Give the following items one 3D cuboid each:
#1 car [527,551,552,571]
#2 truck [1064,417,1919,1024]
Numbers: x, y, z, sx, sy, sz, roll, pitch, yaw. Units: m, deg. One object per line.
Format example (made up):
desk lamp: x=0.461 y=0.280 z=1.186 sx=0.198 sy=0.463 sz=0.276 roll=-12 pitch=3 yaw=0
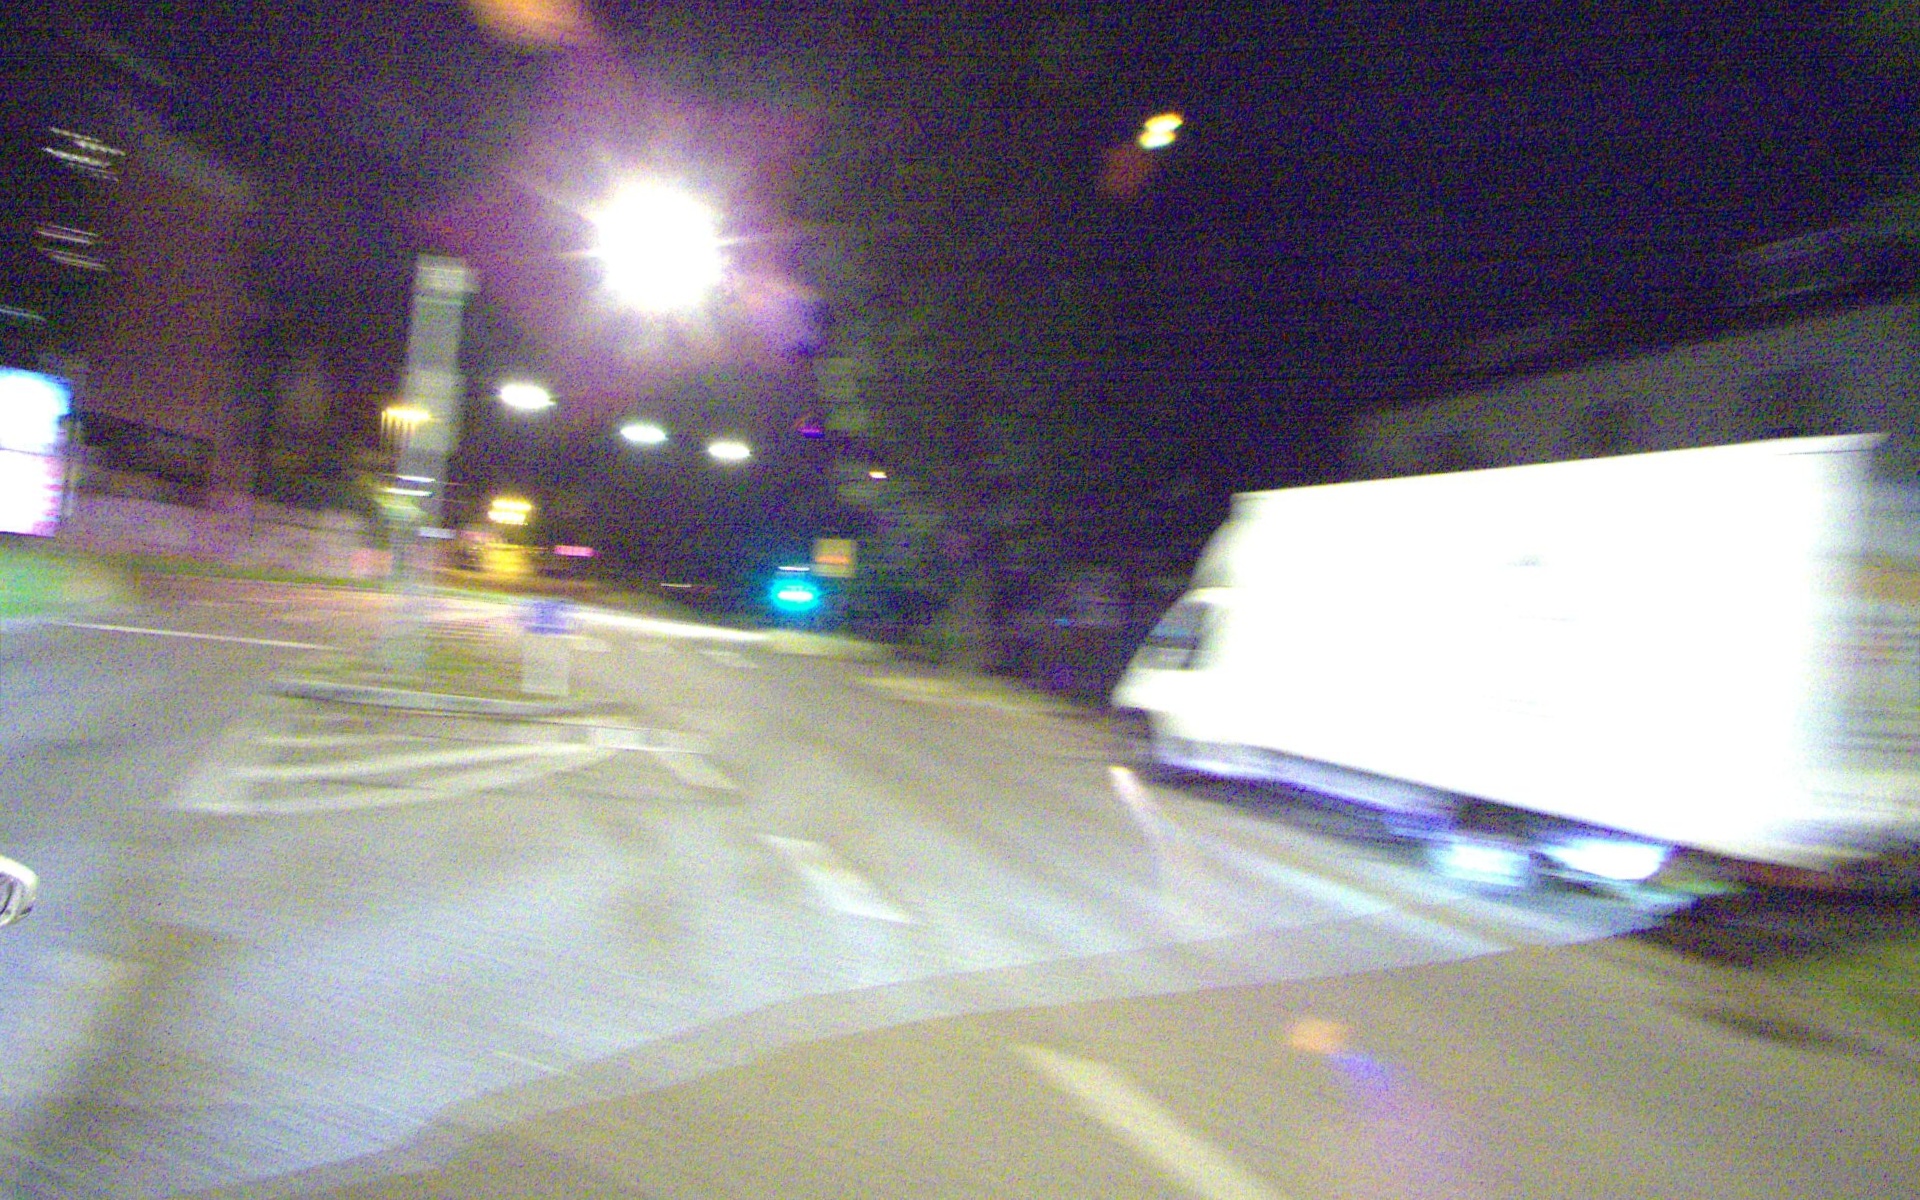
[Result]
car: x=-44.008 y=-4.127 z=105.225 sx=1.976 sy=1.790 sz=3.975 roll=8 pitch=-1 yaw=-26
truck: x=4.040 y=0.599 z=8.844 sx=2.737 sy=3.083 sz=6.992 roll=5 pitch=0 yaw=-26
